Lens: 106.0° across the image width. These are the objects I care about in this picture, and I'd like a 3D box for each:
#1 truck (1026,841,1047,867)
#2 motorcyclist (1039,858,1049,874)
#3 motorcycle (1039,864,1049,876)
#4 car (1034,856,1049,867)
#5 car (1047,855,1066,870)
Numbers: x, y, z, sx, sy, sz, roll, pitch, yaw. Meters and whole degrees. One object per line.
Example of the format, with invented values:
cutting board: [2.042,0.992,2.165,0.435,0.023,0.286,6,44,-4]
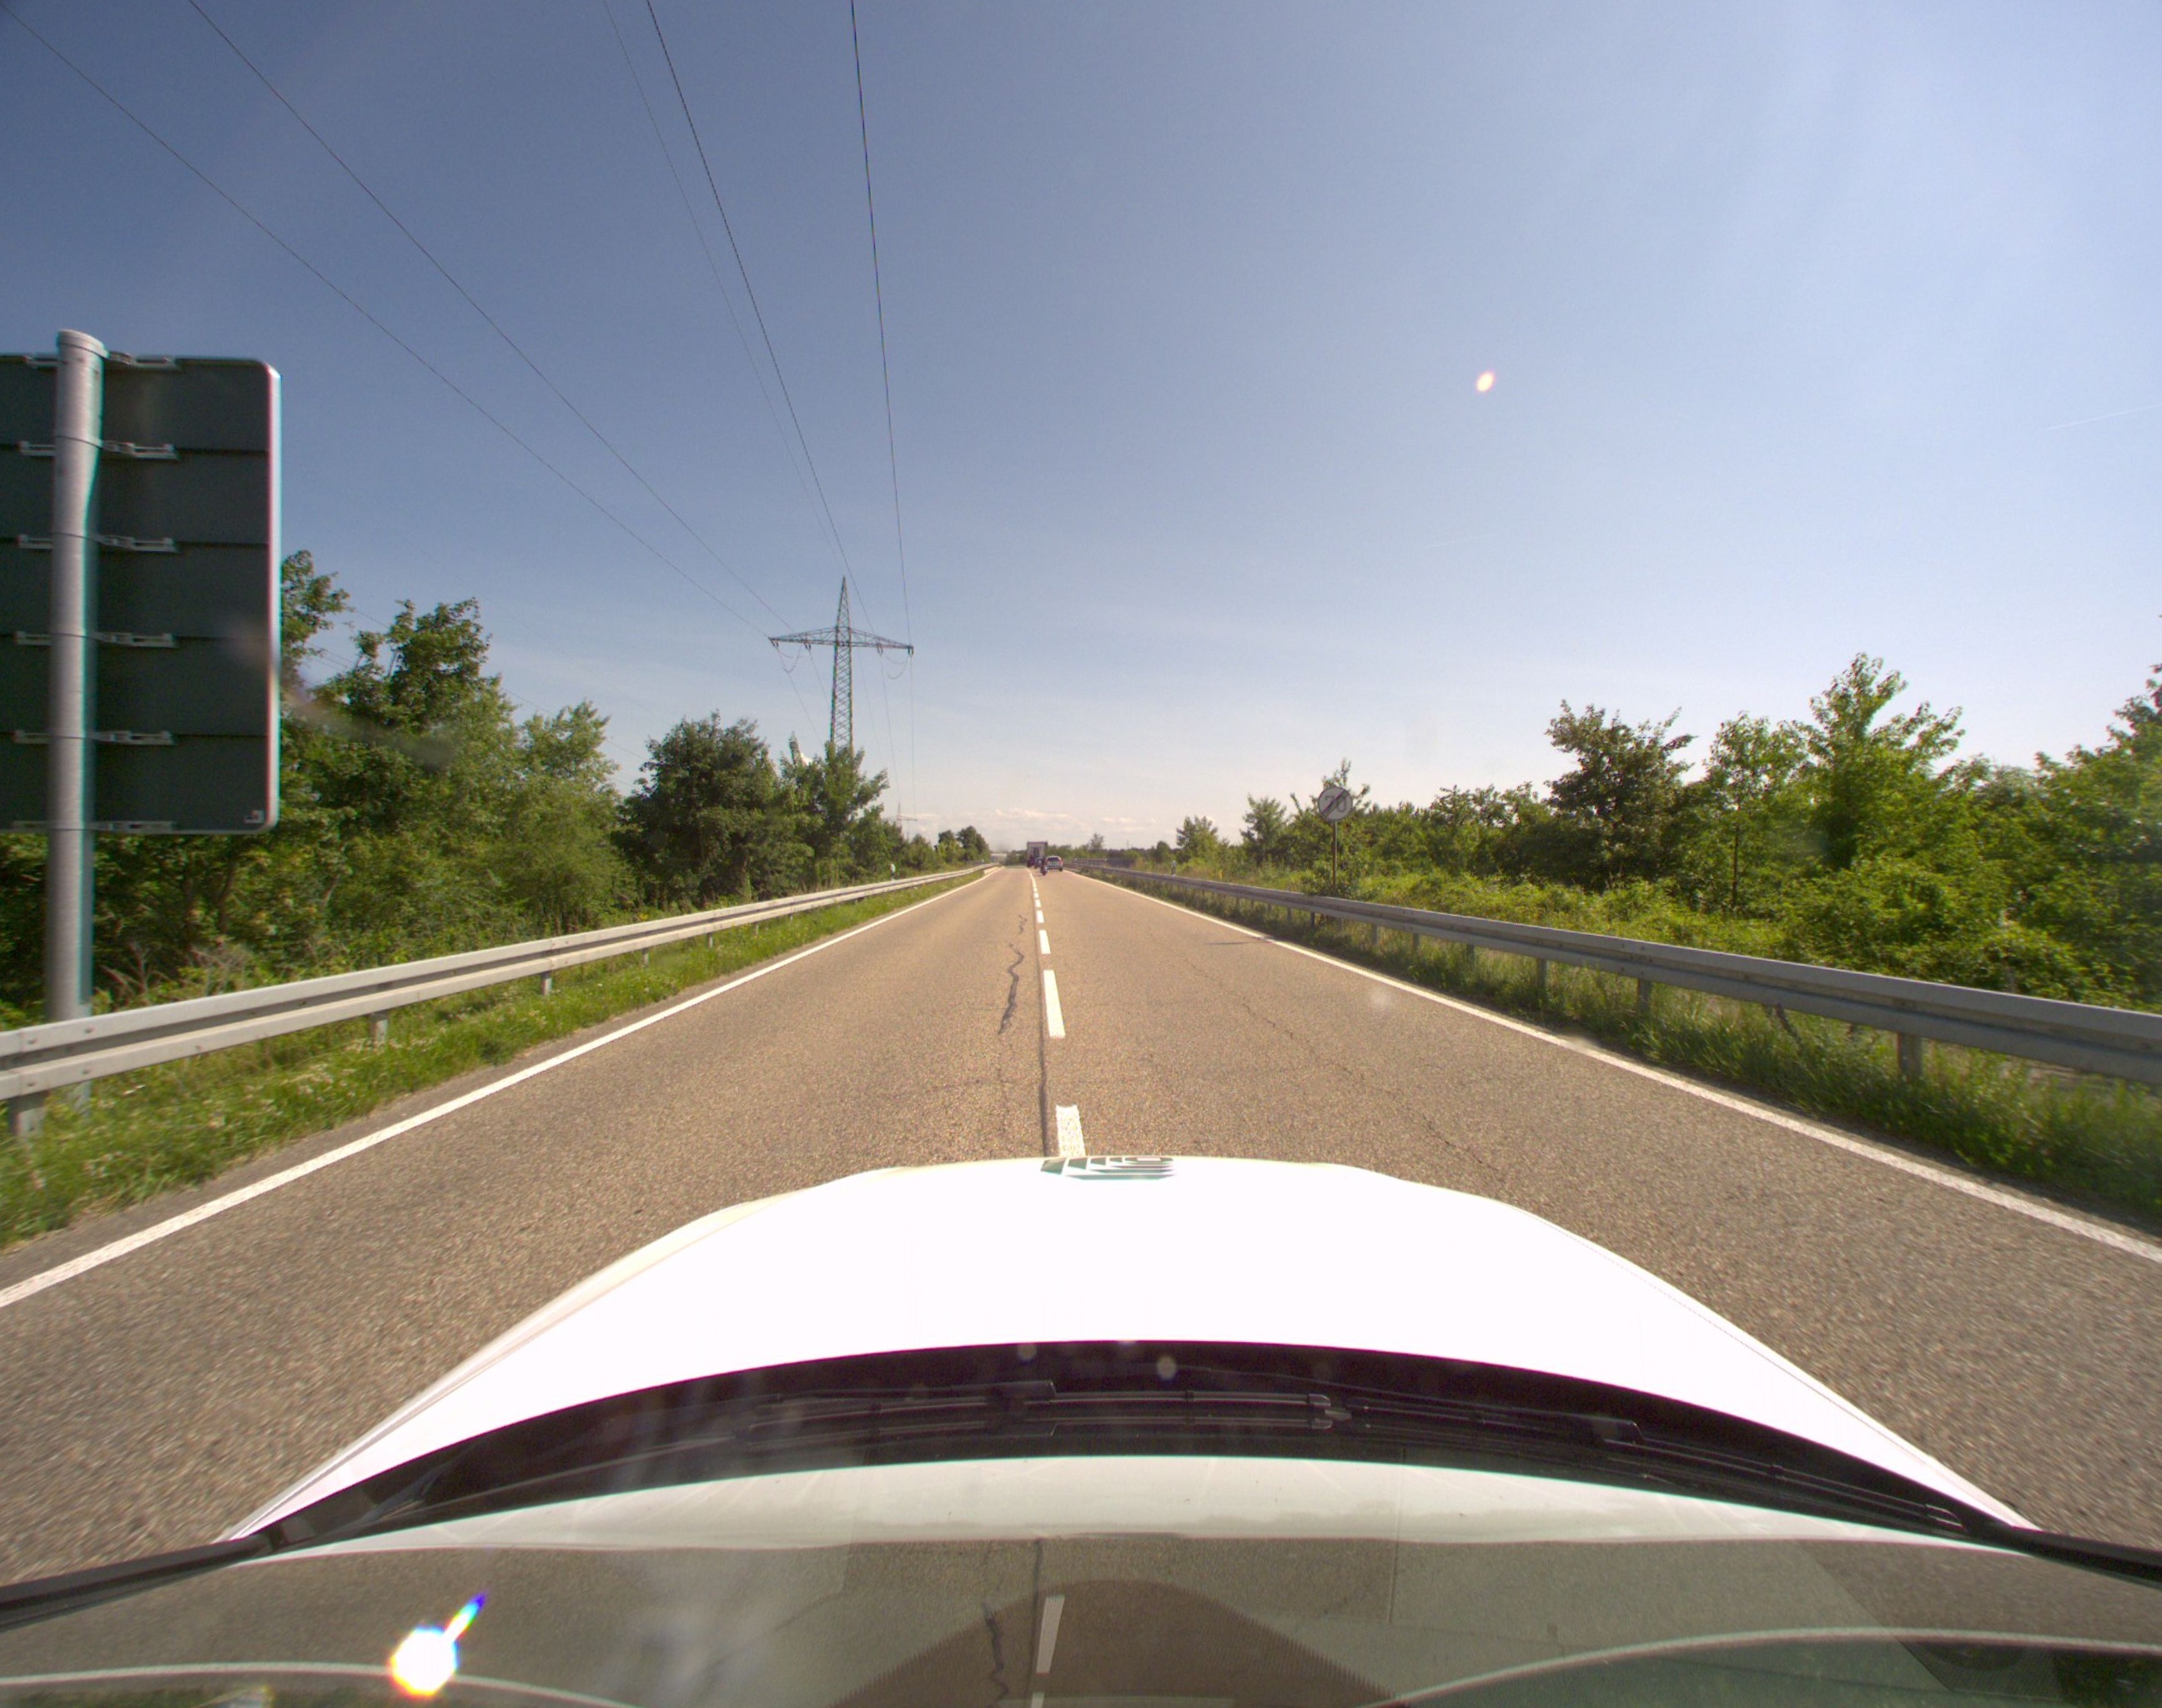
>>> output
truck: [-7.323,0.019,132.085,3.235,3.979,9.431,-1,0,-4]
motorcyclist: [-3.077,1.023,68.147,0.778,1.325,0.812,-1,0,-3]
motorcycle: [-3.082,1.347,68.126,0.778,0.975,2.359,-1,0,-3]
car: [-5.243,1.023,107.607,1.862,1.420,3.995,0,0,-3]
car: [-2.567,0.820,83.310,1.822,1.451,3.995,-1,0,-4]
